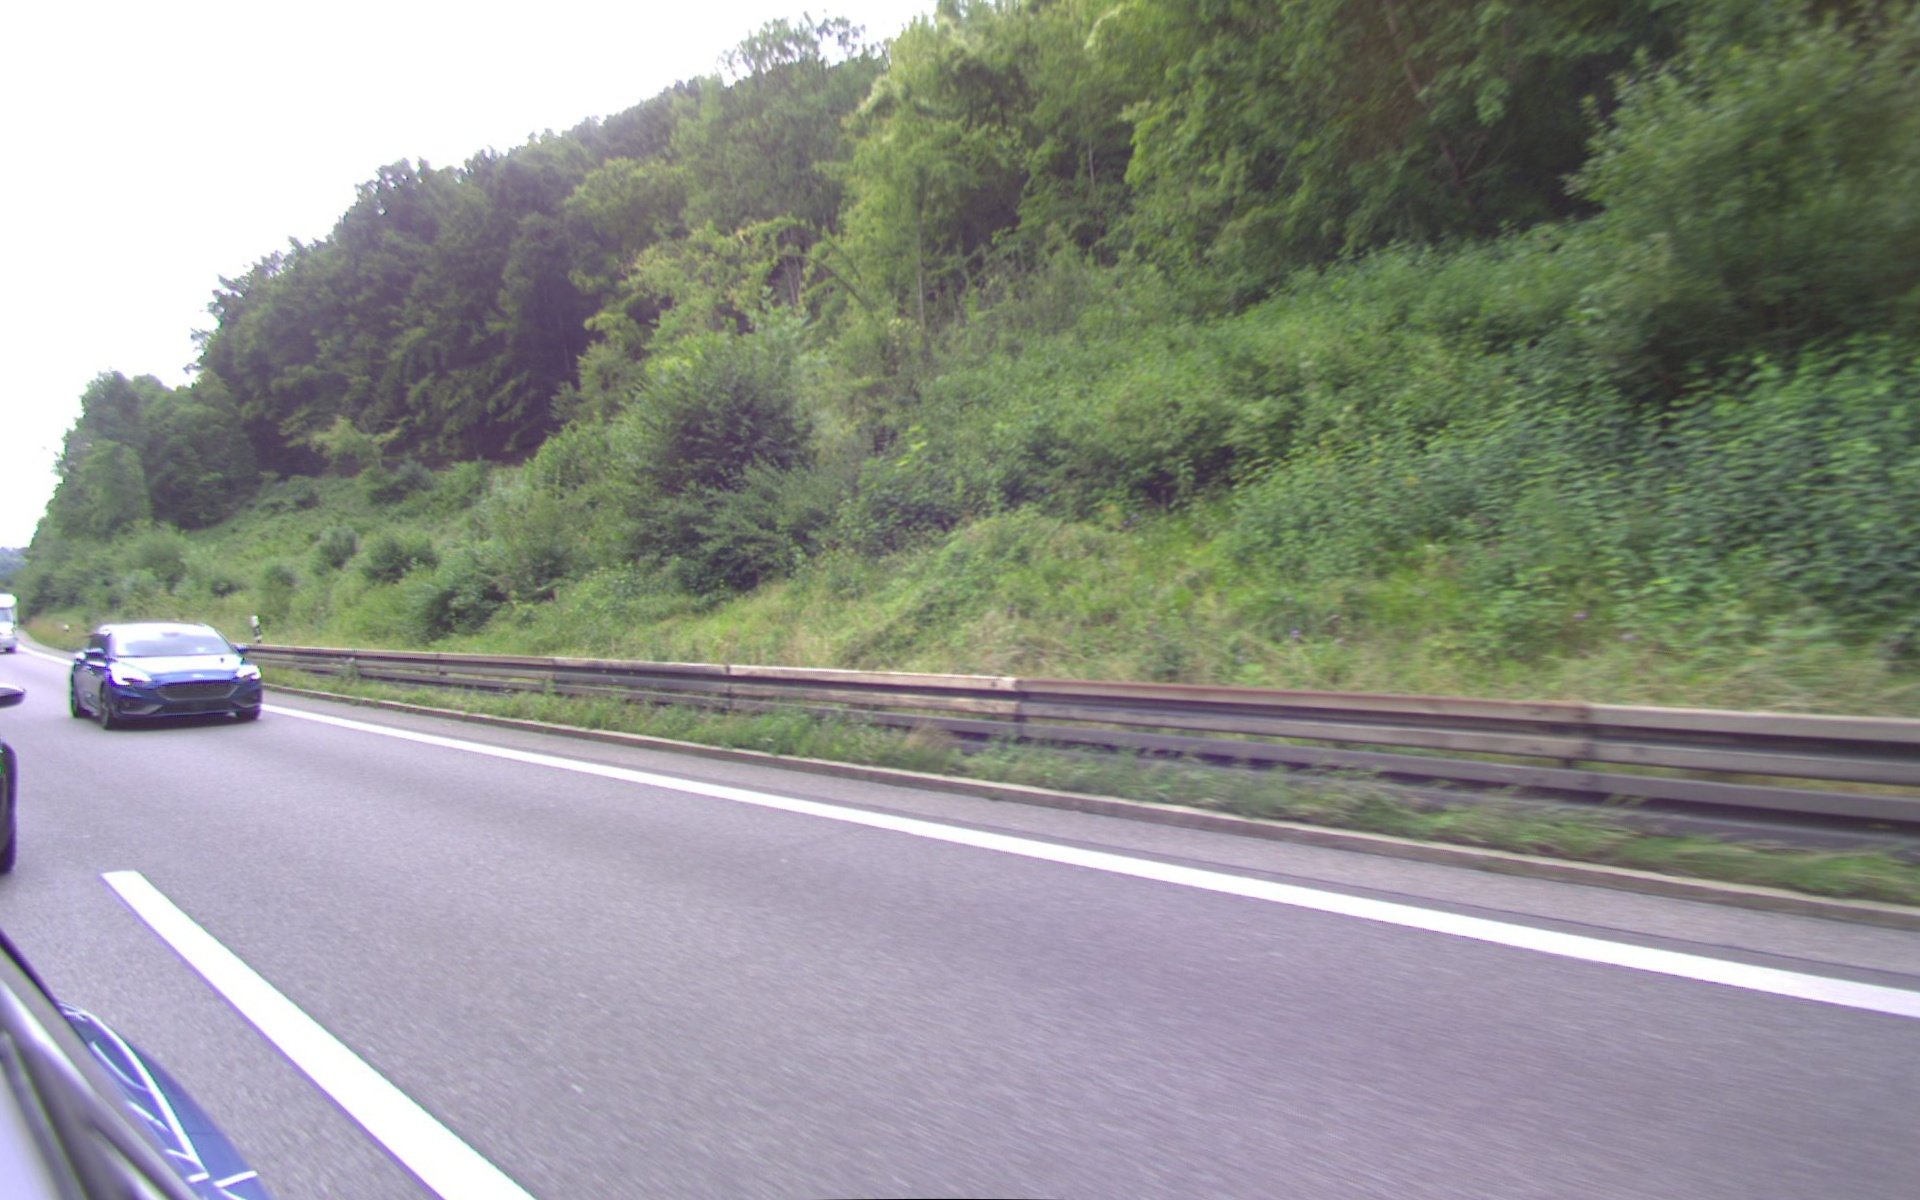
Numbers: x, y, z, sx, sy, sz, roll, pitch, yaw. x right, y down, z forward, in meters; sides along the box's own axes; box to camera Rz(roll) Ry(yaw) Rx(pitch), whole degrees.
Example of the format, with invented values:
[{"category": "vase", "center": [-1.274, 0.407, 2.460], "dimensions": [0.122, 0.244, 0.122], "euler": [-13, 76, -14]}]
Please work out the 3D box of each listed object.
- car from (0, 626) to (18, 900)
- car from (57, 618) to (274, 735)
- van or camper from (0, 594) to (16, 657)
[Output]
[{"category": "car", "center": [-7.205, 0.903, 6.088], "dimensions": [4.397, 1.428, 1.729], "euler": [-2, -2, 40]}, {"category": "car", "center": [-12.010, 1.030, 15.180], "dimensions": [4.554, 1.480, 1.816], "euler": [-1, -1, 42]}, {"category": "van or camper", "center": [-44.399, 1.169, 45.506], "dimensions": [7.022, 2.756, 2.241], "euler": [-2, -2, 42]}]
